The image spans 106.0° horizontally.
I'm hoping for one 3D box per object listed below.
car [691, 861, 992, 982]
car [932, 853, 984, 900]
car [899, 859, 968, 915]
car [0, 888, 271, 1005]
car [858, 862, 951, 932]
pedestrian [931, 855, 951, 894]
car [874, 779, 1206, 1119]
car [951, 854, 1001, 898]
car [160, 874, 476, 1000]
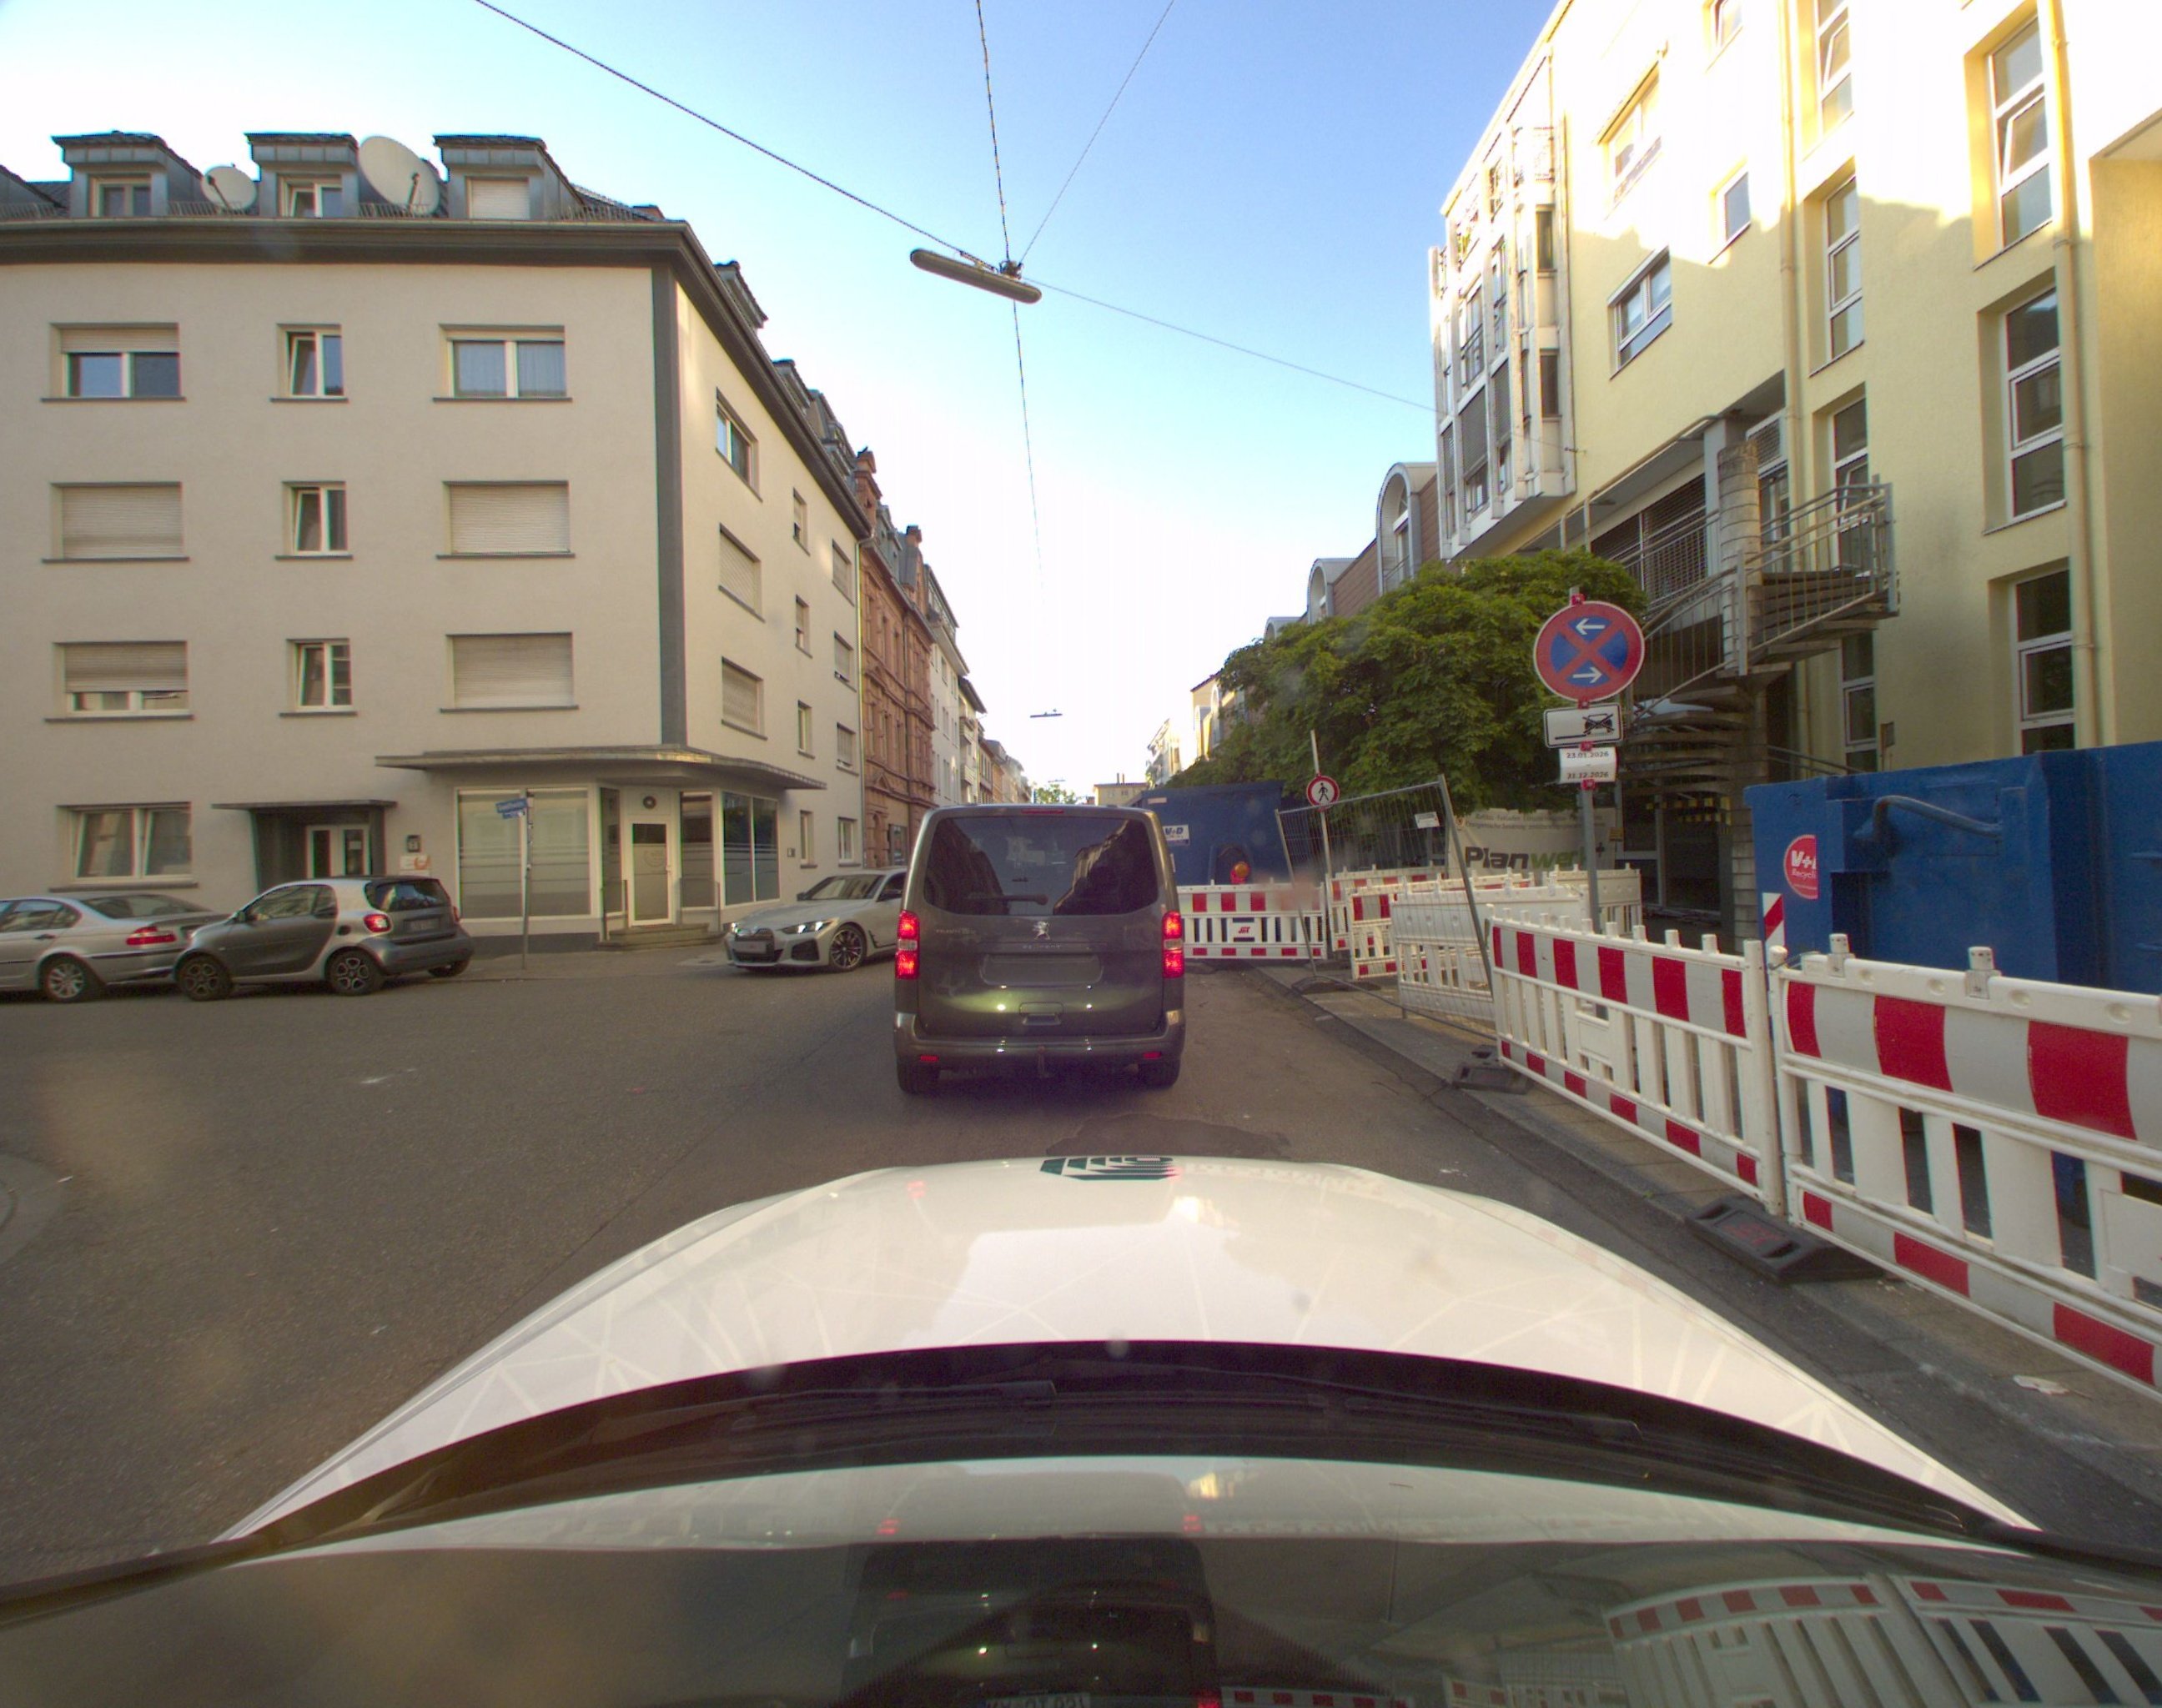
[{"bbox_3d":[-3.460,0.902,12.935,1.910,1.451,4.838,-2,0,23],"label":"car"},{"bbox_3d":[-4.793,0.878,32.058,1.663,1.666,3.087,3,-1,-4],"label":"car"},{"bbox_3d":[-4.448,0.974,24.959,1.653,1.525,3.412,3,-1,-4],"label":"car"},{"bbox_3d":[-14.208,1.253,11.298,4.193,1.403,1.602,-1,0,-2],"label":"car"},{"bbox_3d":[-4.149,0.971,19.640,1.653,1.460,3.412,3,-1,-4],"label":"car"},{"bbox_3d":[-6.177,0.896,35.995,0.739,1.664,0.702,-2,0,-5],"label":"pedestrian"},{"bbox_3d":[-0.369,0.552,6.753,1.862,1.886,4.228,-1,-1,-4],"label":"car"},{"bbox_3d":[-4.534,0.955,35.698,1.888,1.720,3.748,3,-1,-4],"label":"car"},{"bbox_3d":[-10.275,1.070,11.140,2.778,1.540,1.593,0,0,-1],"label":"car"}]
